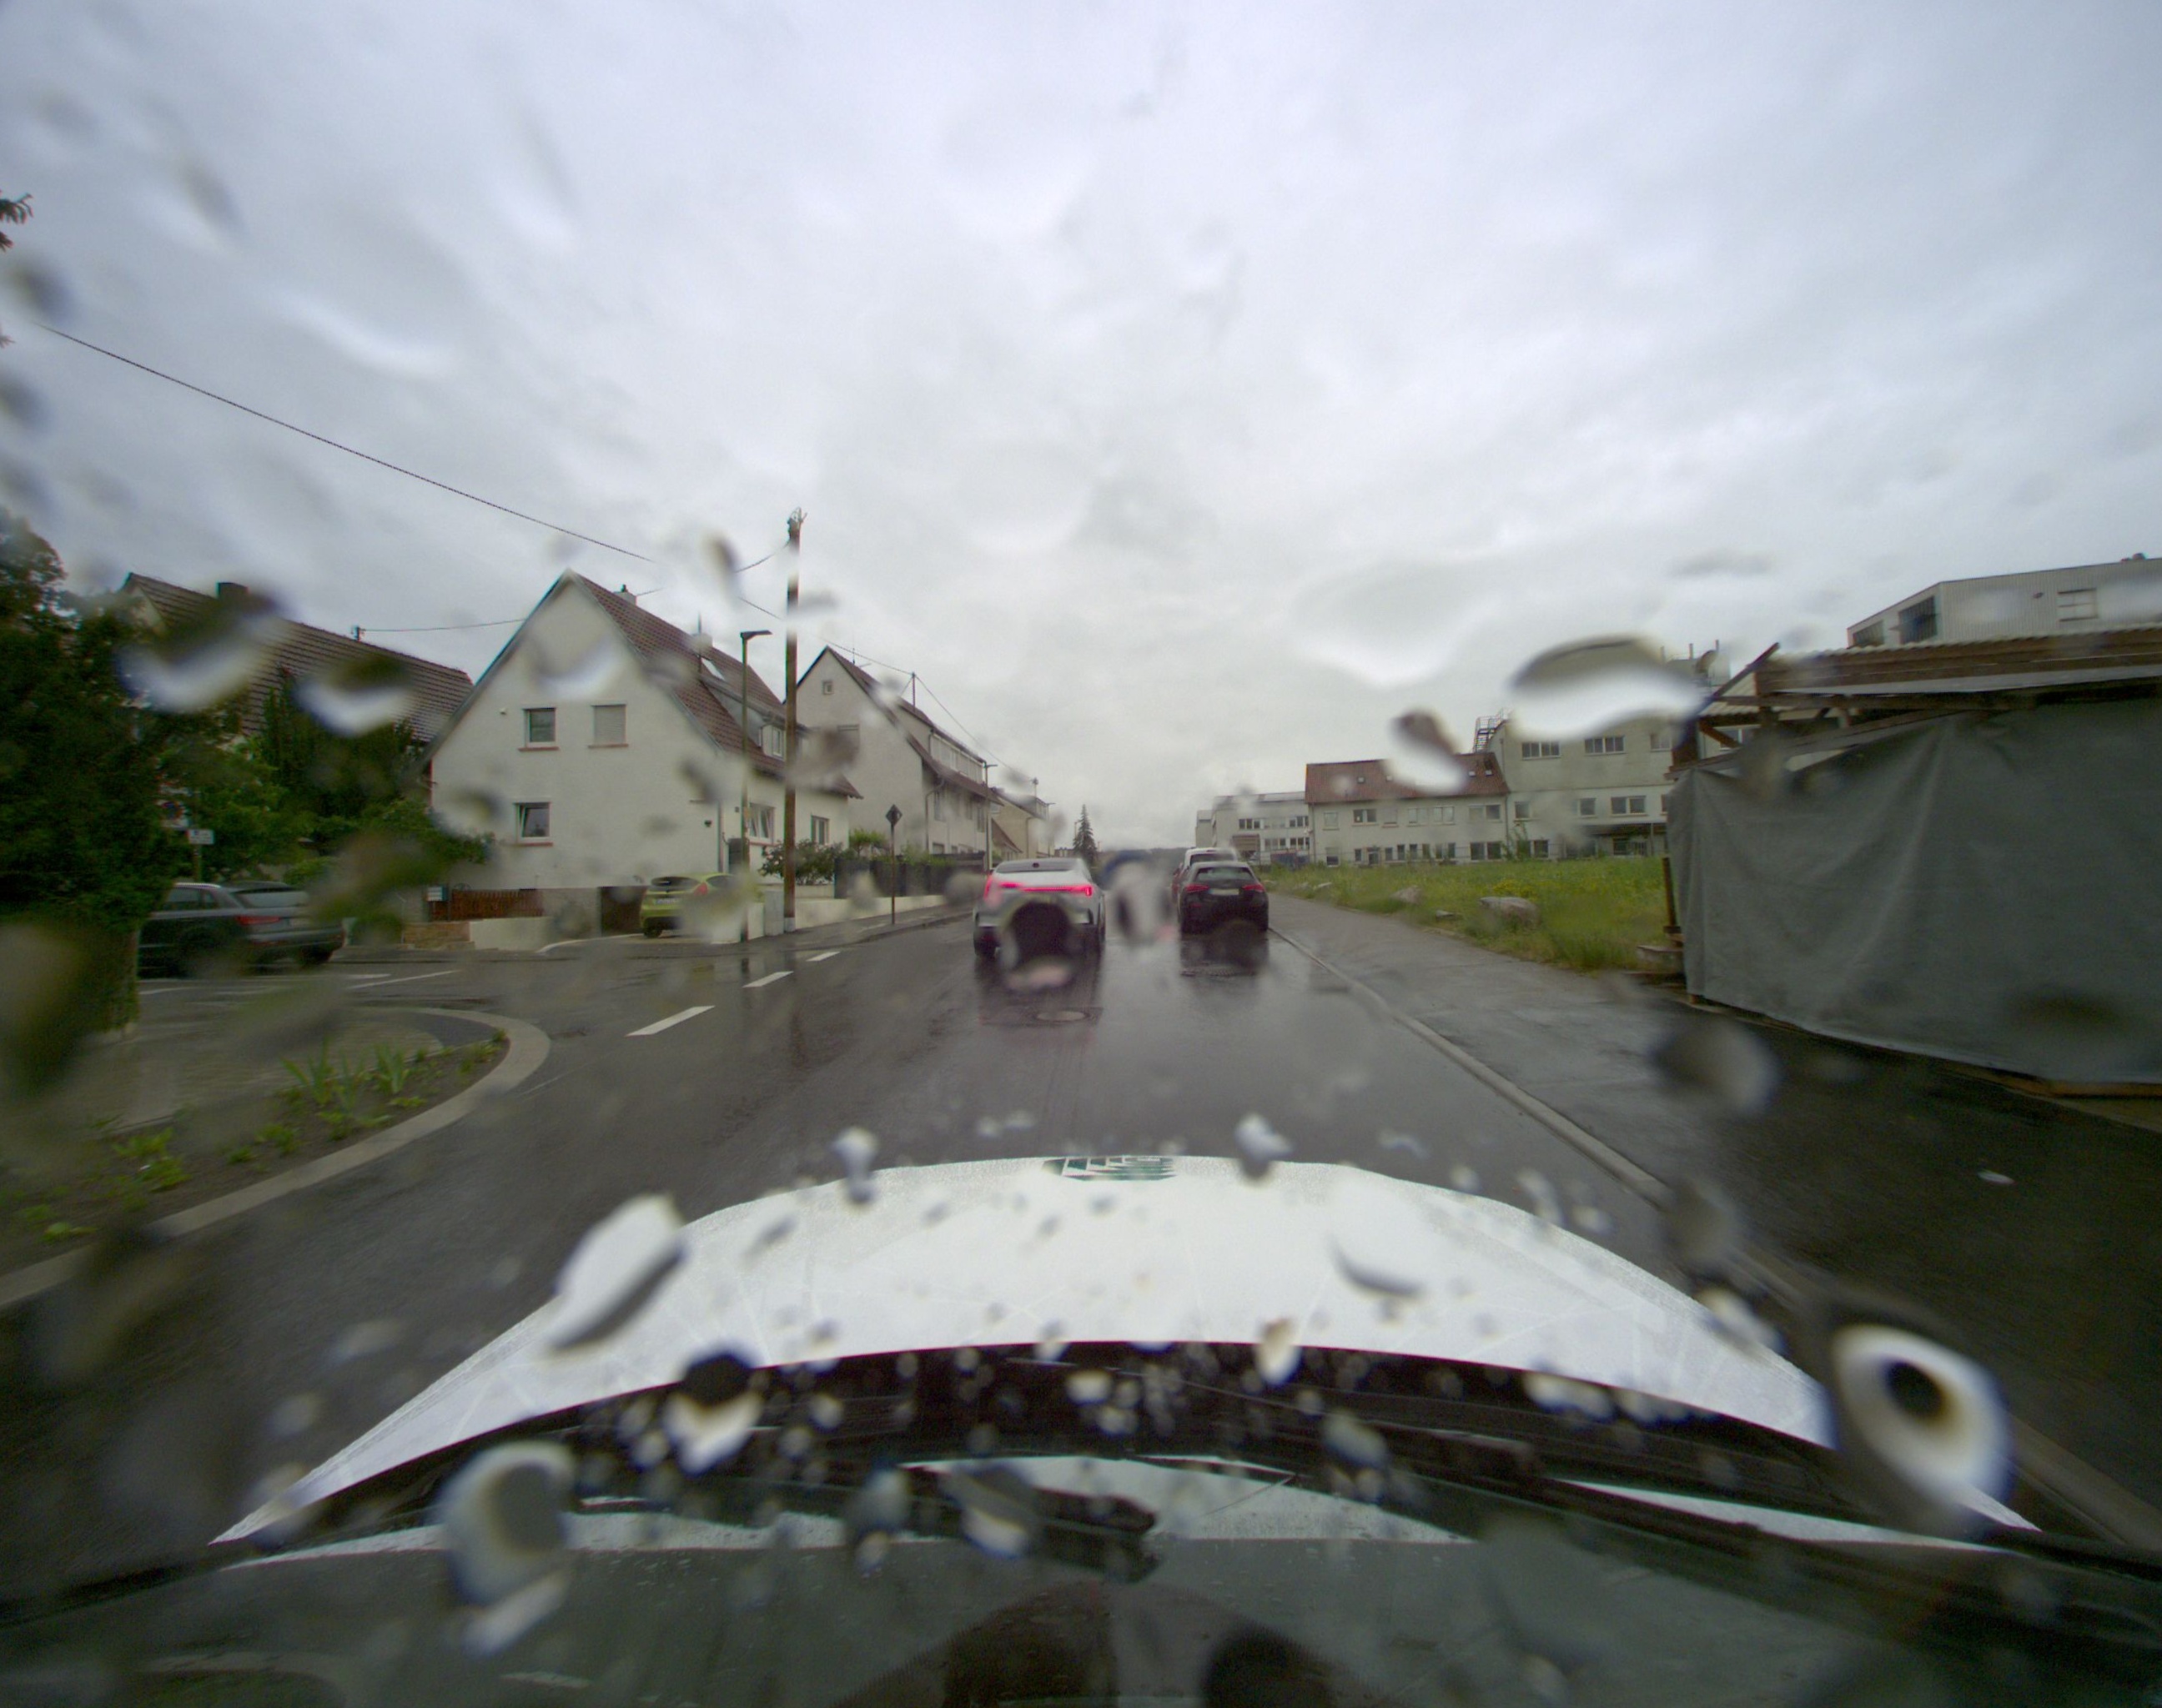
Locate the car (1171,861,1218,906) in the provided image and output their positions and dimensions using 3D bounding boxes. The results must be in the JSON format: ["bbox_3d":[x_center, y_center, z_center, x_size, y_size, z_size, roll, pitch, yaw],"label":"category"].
[{"bbox_3d":[4.343,1.095,31.213,1.633,1.575,4.653,-1,-1,8],"label":"car"}]

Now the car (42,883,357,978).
[{"bbox_3d":[-15.267,1.287,14.221,3.822,1.467,1.788,-1,0,7],"label":"car"}]

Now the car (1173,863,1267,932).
[{"bbox_3d":[2.942,0.888,18.034,1.760,1.336,4.327,-1,-1,6],"label":"car"}]

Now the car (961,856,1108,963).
[{"bbox_3d":[-0.593,0.840,14.045,1.985,1.502,4.673,-1,-1,3],"label":"car"}]

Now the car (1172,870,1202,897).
[{"bbox_3d":[6.315,1.758,48.928,1.673,1.557,3.680,-1,-1,6],"label":"car"}]

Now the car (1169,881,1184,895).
[{"bbox_3d":[15.151,5.402,129.694,1.985,2.014,4.001,-2,-5,3],"label":"car"}]

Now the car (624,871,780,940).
[{"bbox_3d":[-8.836,1.169,19.317,1.769,1.467,3.463,-1,-2,7],"label":"car"}]

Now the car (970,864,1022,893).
[{"bbox_3d":[-4.867,1.392,47.323,1.983,1.510,4.903,2,-1,6],"label":"car"}]

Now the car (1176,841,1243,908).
[{"bbox_3d":[3.789,0.603,24.684,1.760,1.825,4.581,-1,-1,6],"label":"car"}]
